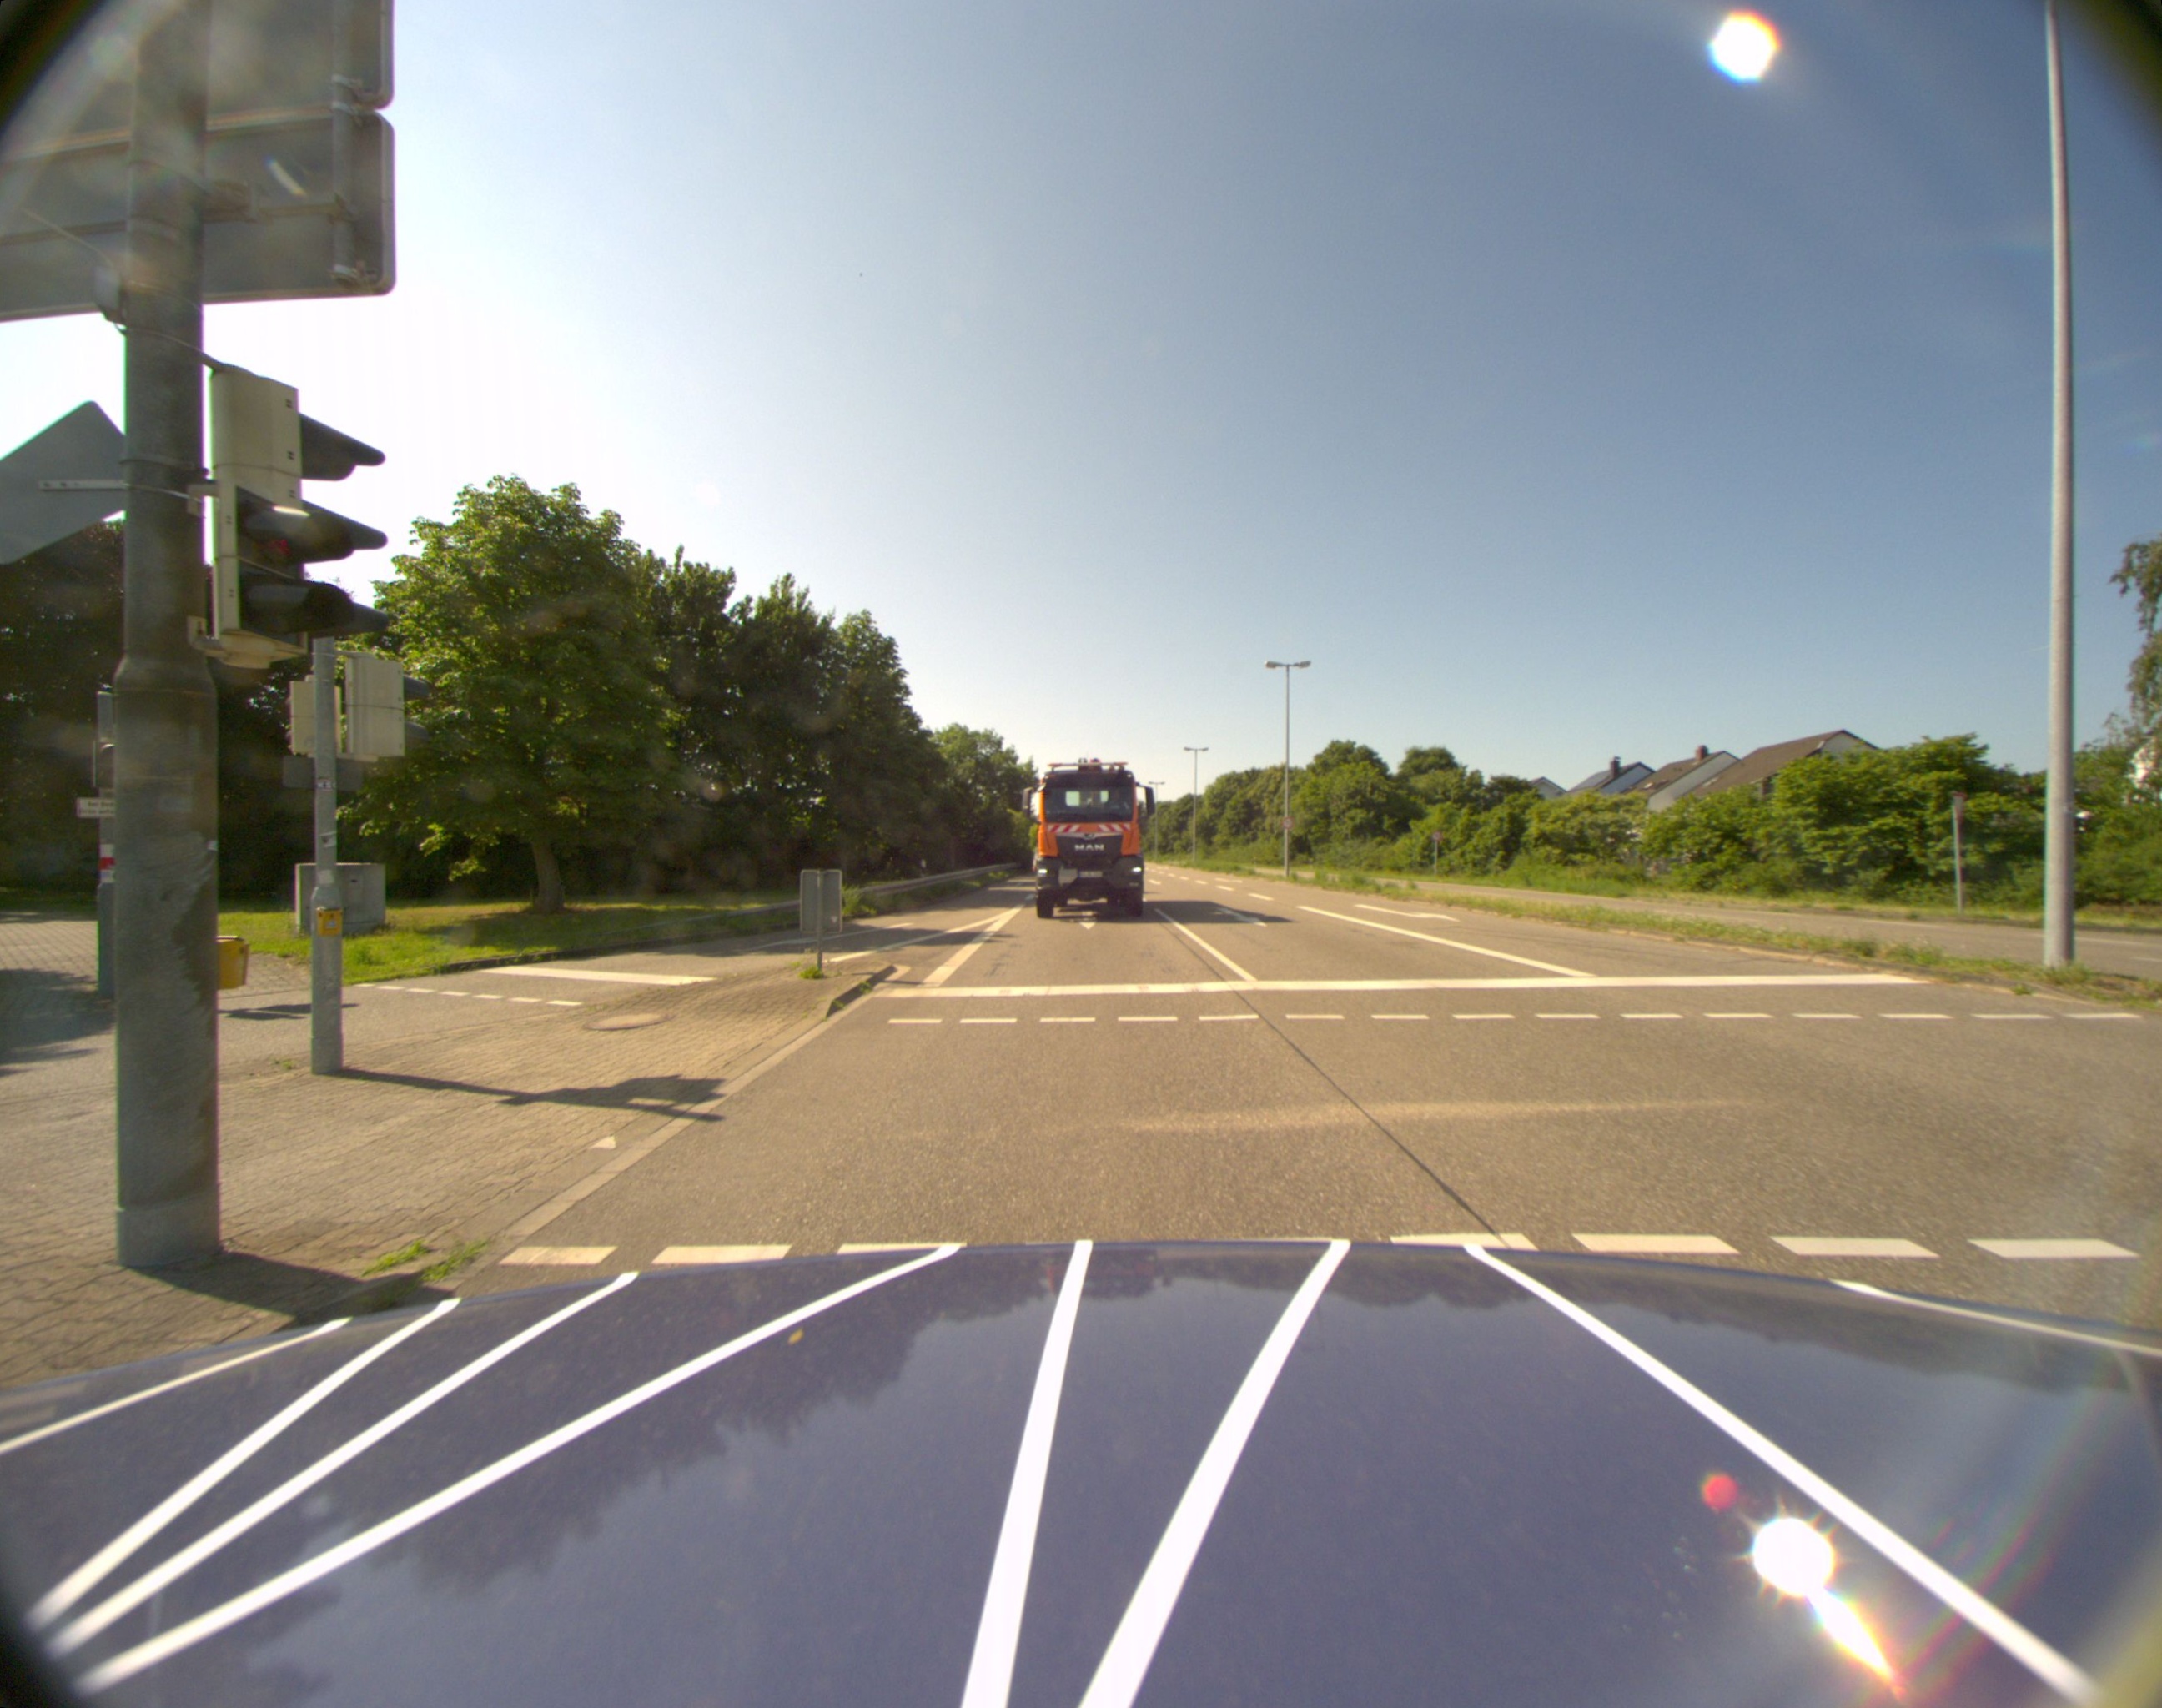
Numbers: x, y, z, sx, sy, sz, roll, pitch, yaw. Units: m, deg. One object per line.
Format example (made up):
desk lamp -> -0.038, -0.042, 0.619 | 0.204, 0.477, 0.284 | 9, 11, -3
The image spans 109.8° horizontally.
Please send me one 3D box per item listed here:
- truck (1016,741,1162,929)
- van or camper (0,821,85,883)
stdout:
truck -> 0.232, -0.439, 19.160 | 2.940, 3.853, 6.590 | -2, 1, 1
van or camper -> -50.219, -0.102, 35.382 | 4.812, 2.815, 1.999 | 0, 1, -2
